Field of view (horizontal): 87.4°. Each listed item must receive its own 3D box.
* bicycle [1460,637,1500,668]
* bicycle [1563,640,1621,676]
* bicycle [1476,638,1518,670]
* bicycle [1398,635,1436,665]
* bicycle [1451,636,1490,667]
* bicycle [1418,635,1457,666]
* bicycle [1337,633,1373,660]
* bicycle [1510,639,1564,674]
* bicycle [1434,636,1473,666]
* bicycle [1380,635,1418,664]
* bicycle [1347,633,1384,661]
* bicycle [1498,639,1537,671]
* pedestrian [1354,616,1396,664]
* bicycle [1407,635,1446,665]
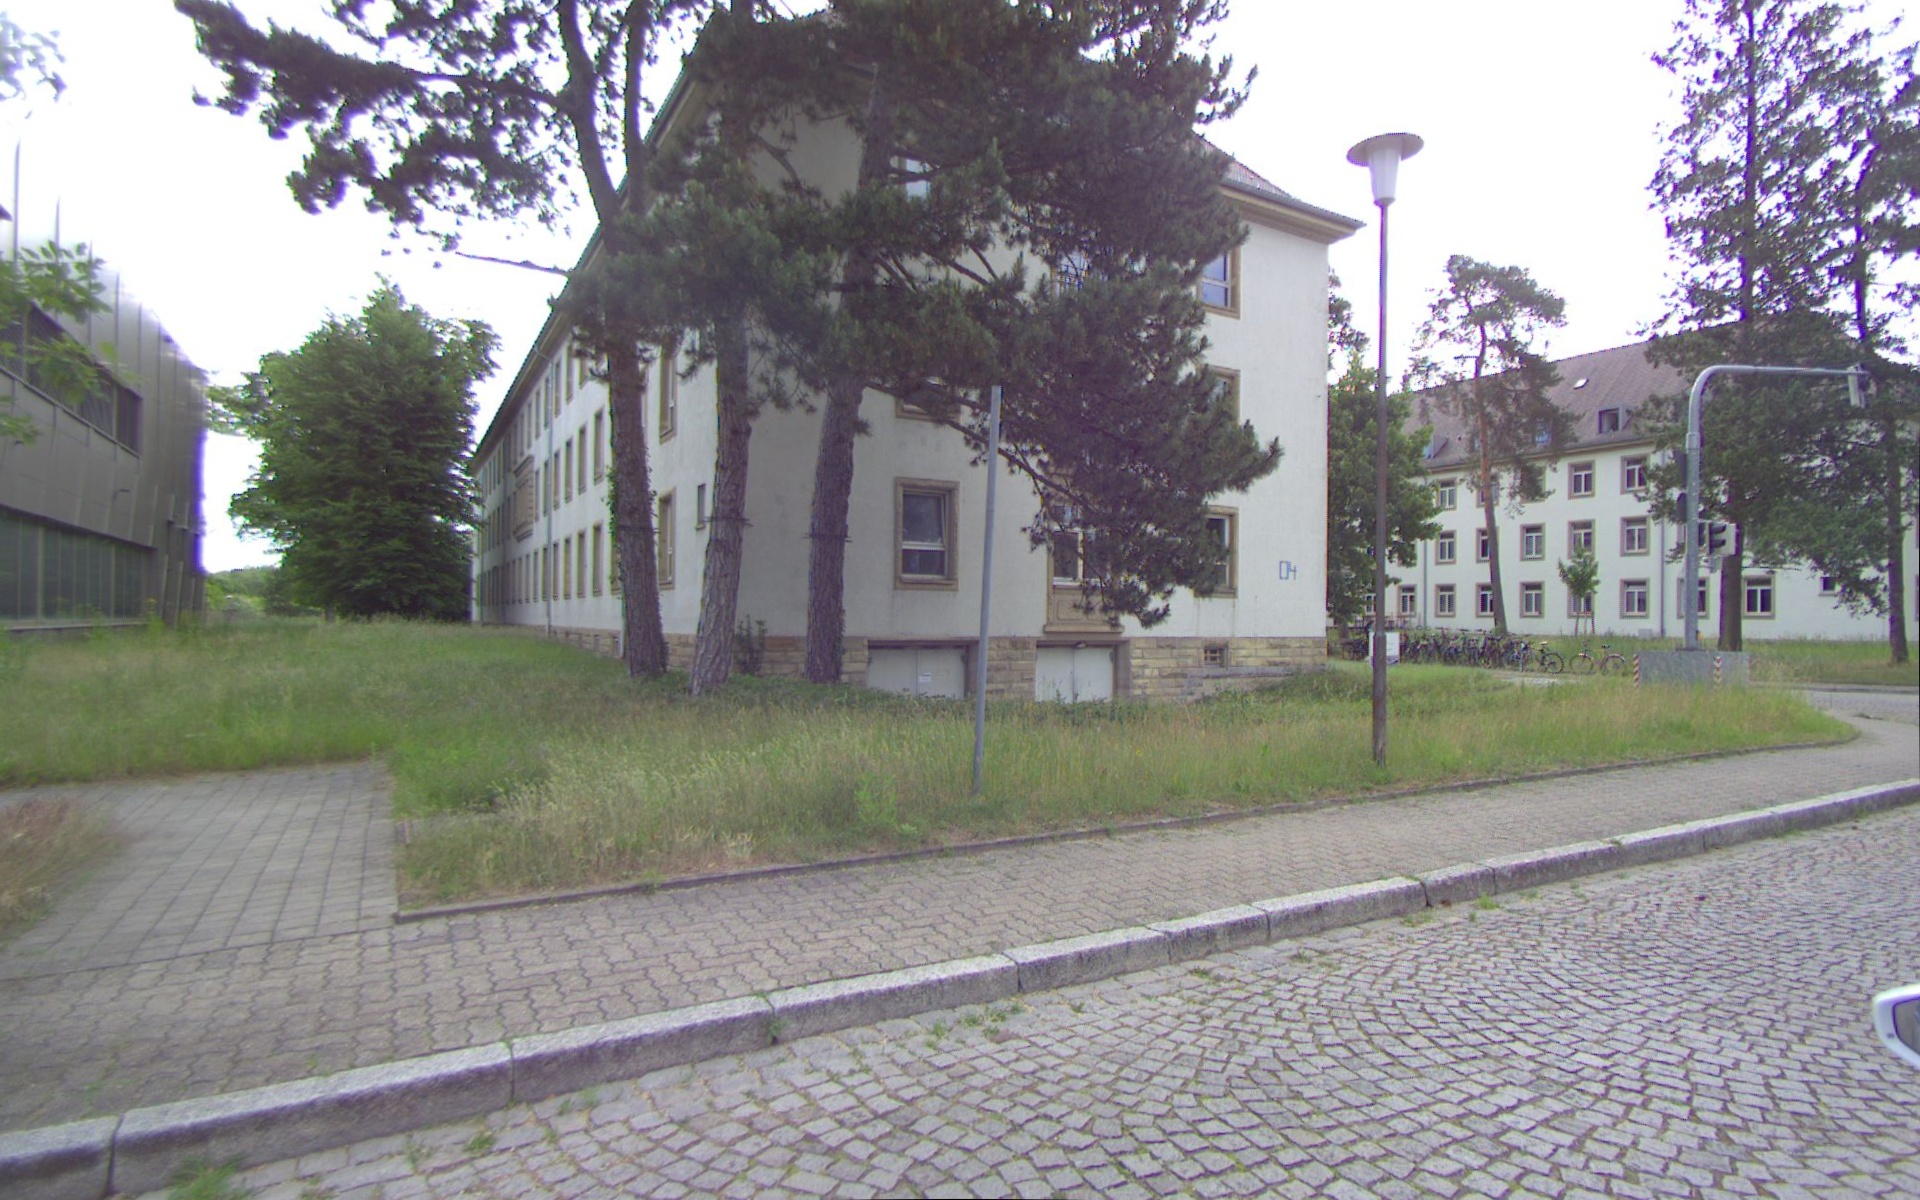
[{"bbox_3d":[18.498,1.856,35.735,1.567,1.093,0.512,1,-2,-30],"label":"bicycle"},{"bbox_3d":[19.661,1.787,31.267,0.510,1.079,1.457,1,-2,-31],"label":"bicycle"},{"bbox_3d":[18.767,1.865,35.077,1.565,1.093,0.512,1,-2,-28],"label":"bicycle"},{"bbox_3d":[17.218,1.883,37.820,1.567,1.093,0.512,1,-2,-30],"label":"bicycle"},{"bbox_3d":[18.323,1.851,36.051,1.567,1.093,0.512,1,-2,-30],"label":"bicycle"},{"bbox_3d":[17.645,1.864,37.102,1.567,1.093,0.512,1,-2,-30],"label":"bicycle"},{"bbox_3d":[15.838,1.864,40.282,1.567,1.093,0.512,1,-2,-30],"label":"bicycle"},{"bbox_3d":[18.709,1.834,32.599,0.510,1.093,1.457,1,-2,-31],"label":"bicycle"},{"bbox_3d":[17.971,1.851,36.573,1.567,1.093,0.512,1,-2,-30],"label":"bicycle"},{"bbox_3d":[16.823,1.888,38.510,1.567,1.093,0.512,1,-2,-30],"label":"bicycle"},{"bbox_3d":[16.095,1.872,39.853,1.567,1.093,0.512,1,-2,-30],"label":"bicycle"},{"bbox_3d":[19.177,1.877,34.536,1.568,1.093,0.511,2,-2,-34],"label":"bicycle"},{"bbox_3d":[15.978,1.524,38.699,1.135,1.812,1.064,-1,0,-2],"label":"pedestrian"},{"bbox_3d":[17.415,1.859,37.490,1.567,1.093,0.512,1,-2,-30],"label":"bicycle"}]
